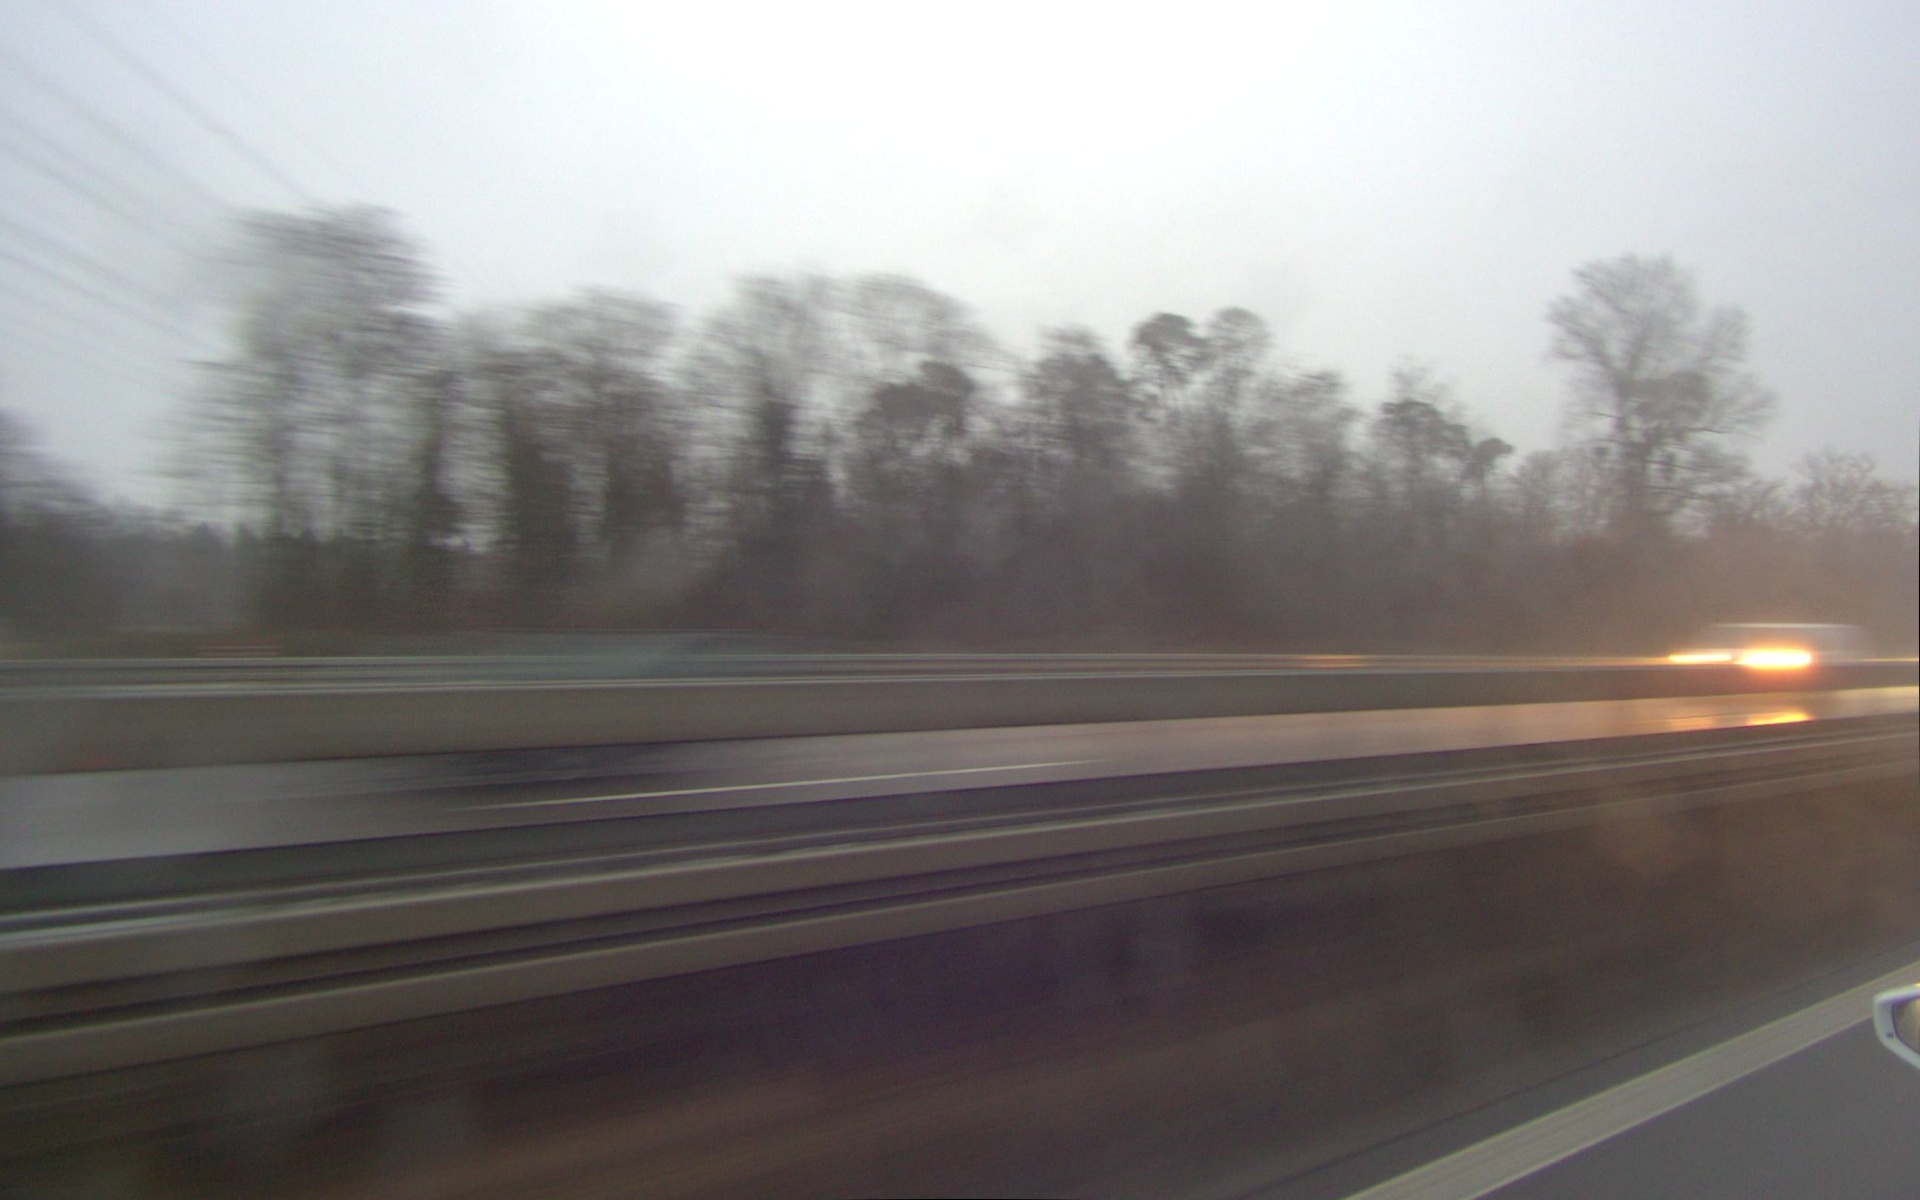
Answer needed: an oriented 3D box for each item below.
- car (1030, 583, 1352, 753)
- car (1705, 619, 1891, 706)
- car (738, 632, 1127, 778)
[{"bbox_3d":[3.362,0.884,14.378,4.410,2.109,1.850,1,0,-30],"label":"car"},{"bbox_3d":[21.360,1.559,25.567,5.194,2.040,1.984,2,-2,-30],"label":"car"},{"bbox_3d":[-0.255,1.130,12.000,4.359,1.426,1.747,1,-1,-31],"label":"car"}]
